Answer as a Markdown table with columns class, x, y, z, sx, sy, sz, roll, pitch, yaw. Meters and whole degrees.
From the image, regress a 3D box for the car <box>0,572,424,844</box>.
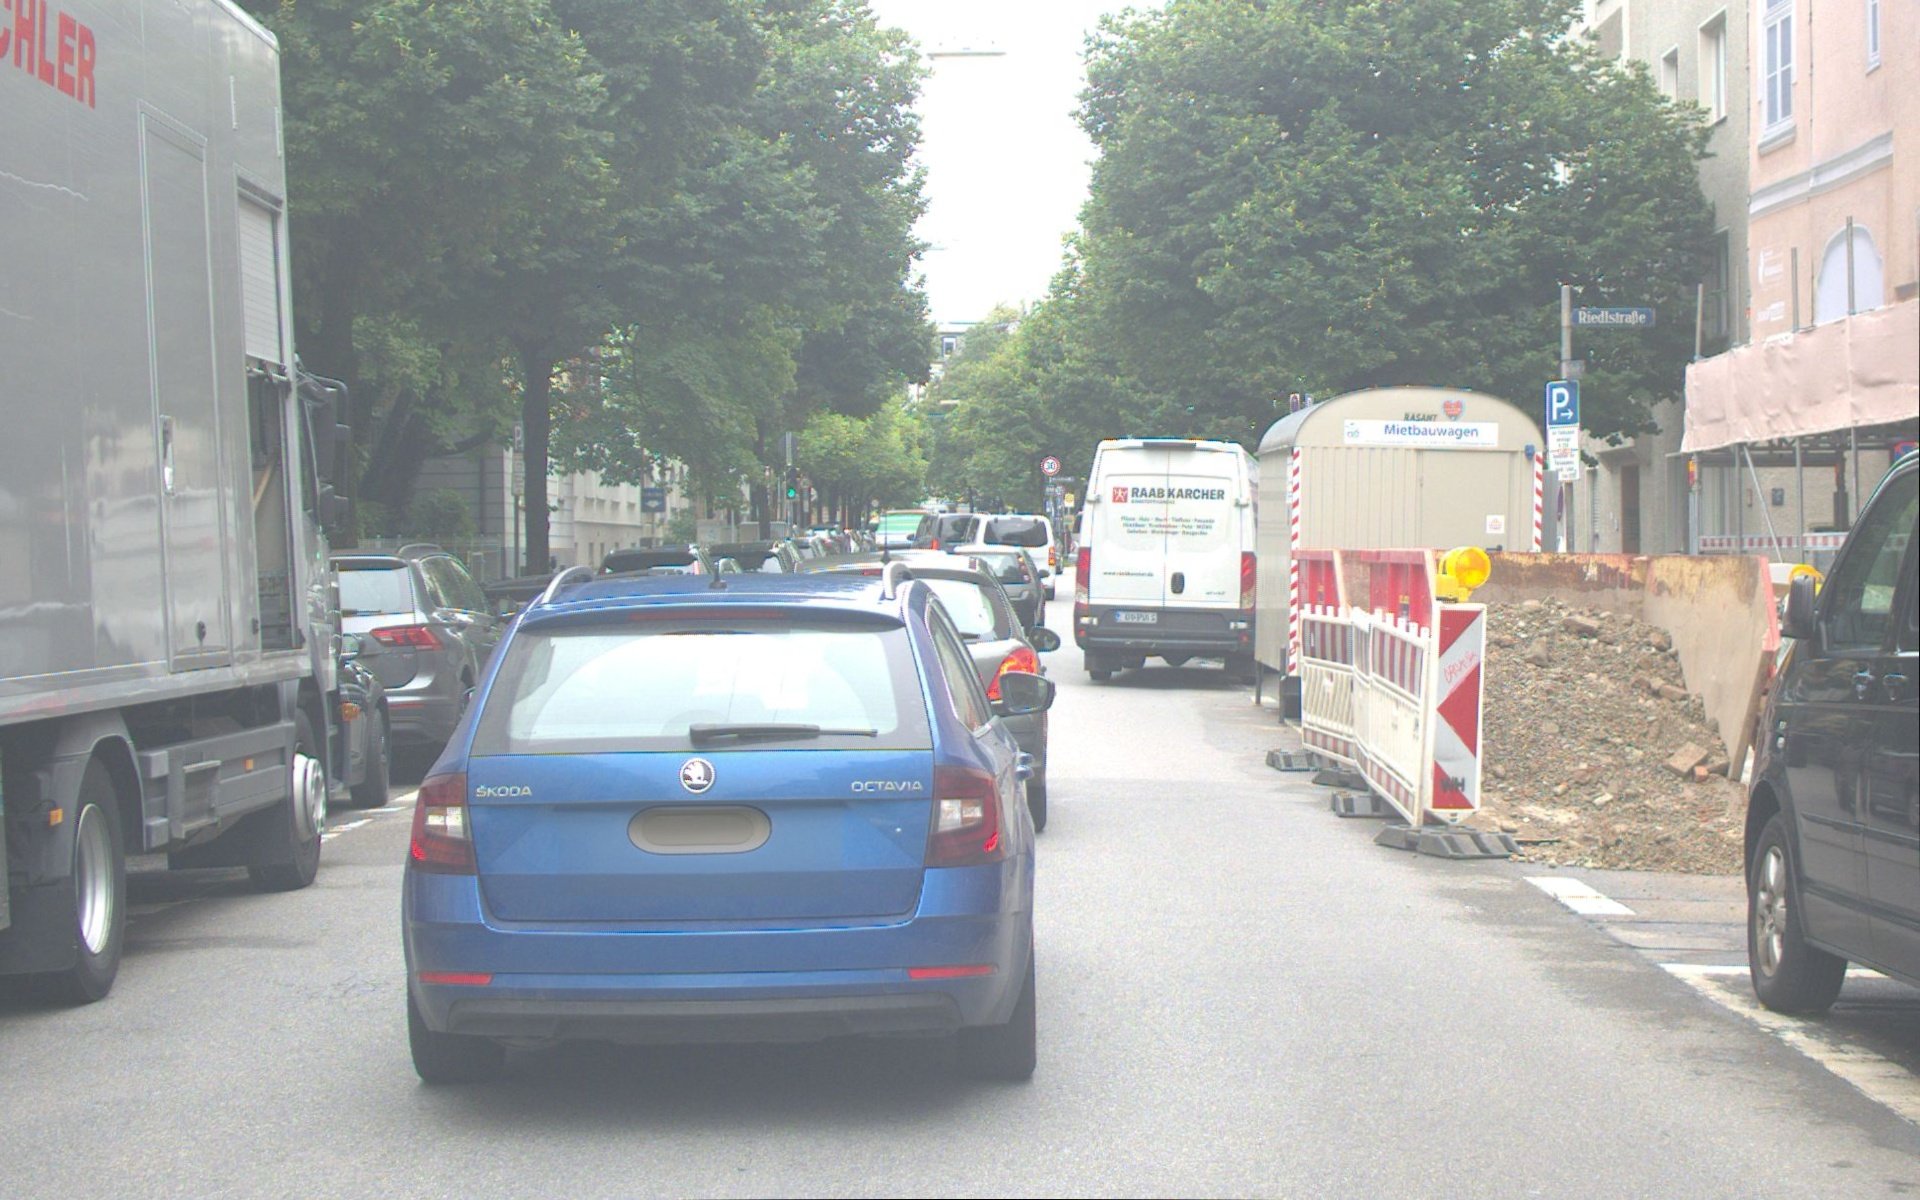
| class | x | y | z | sx | sy | sz | roll | pitch | yaw |
| --- | --- | --- | --- | --- | --- | --- | --- | --- | --- |
| car | -4.345 | 0.557 | 20.052 | 1.699 | 1.404 | 3.708 | -1 | 1 | 2 |

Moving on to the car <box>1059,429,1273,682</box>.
| class | x | y | z | sx | sy | sz | roll | pitch | yaw |
| --- | --- | --- | --- | --- | --- | --- | --- | --- | --- |
| car | 2.430 | -0.495 | 39.275 | 2.113 | 2.654 | 5.499 | 1 | 0 | 6 |

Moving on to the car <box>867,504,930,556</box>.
| class | x | y | z | sx | sy | sz | roll | pitch | yaw |
| --- | --- | --- | --- | --- | --- | --- | --- | --- | --- |
| car | -1.988 | -2.282 | 111.741 | 2.008 | 1.647 | 4.348 | 1 | 1 | -1 |

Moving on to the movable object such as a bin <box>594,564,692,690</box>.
| class | x | y | z | sx | sy | sz | roll | pitch | yaw |
| --- | --- | --- | --- | --- | --- | --- | --- | --- | --- |
| movable object such as a bin | -3.616 | 0.297 | 39.262 | 1.020 | 1.372 | 1.104 | -2 | 1 | -3 |

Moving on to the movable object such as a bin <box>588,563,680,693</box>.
| class | x | y | z | sx | sy | sz | roll | pitch | yaw |
| --- | --- | --- | --- | --- | --- | --- | --- | --- | --- |
| movable object such as a bin | -3.614 | 0.300 | 38.164 | 0.918 | 1.372 | 1.080 | -2 | 1 | -3 |

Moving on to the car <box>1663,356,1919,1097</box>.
| class | x | y | z | sx | sy | sz | roll | pitch | yaw |
| --- | --- | --- | --- | --- | --- | --- | --- | --- | --- |
| car | 3.554 | 0.366 | 10.003 | 2.082 | 1.914 | 5.140 | 1 | -2 | 2 |

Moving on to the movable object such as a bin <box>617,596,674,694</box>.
| class | x | y | z | sx | sy | sz | roll | pitch | yaw |
| --- | --- | --- | --- | --- | --- | --- | --- | --- | --- |
| movable object such as a bin | -3.412 | 0.482 | 37.309 | 0.546 | 1.017 | 0.636 | -2 | 1 | -3 |

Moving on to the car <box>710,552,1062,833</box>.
| class | x | y | z | sx | sy | sz | roll | pitch | yaw |
| --- | --- | --- | --- | --- | --- | --- | --- | --- | --- |
| car | -0.324 | 0.447 | 19.297 | 1.741 | 1.417 | 3.664 | 0 | 1 | 2 |

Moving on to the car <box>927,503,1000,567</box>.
| class | x | y | z | sx | sy | sz | roll | pitch | yaw |
| --- | --- | --- | --- | --- | --- | --- | --- | --- | --- |
| car | 0.115 | -1.731 | 91.172 | 1.867 | 1.647 | 4.347 | 1 | 1 | 1 |

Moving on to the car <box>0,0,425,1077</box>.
| class | x | y | z | sx | sy | sz | roll | pitch | yaw |
| --- | --- | --- | --- | --- | --- | --- | --- | --- | --- |
| car | -4.179 | -0.552 | 13.173 | 2.812 | 3.804 | 8.723 | -1 | 1 | 0 |

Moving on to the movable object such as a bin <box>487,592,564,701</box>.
| class | x | y | z | sx | sy | sz | roll | pitch | yaw |
| --- | --- | --- | --- | --- | --- | --- | --- | --- | --- |
| movable object such as a bin | -4.698 | 0.497 | 37.209 | 0.721 | 1.134 | 0.659 | -3 | 1 | -3 |

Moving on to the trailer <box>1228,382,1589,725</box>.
| class | x | y | z | sx | sy | sz | roll | pitch | yaw |
| --- | --- | --- | --- | --- | --- | --- | --- | --- | --- |
| trailer | 4.011 | -0.420 | 32.159 | 2.502 | 2.830 | 6.901 | 1 | 0 | 1 |

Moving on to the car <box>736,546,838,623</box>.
| class | x | y | z | sx | sy | sz | roll | pitch | yaw |
| --- | --- | --- | --- | --- | --- | --- | --- | --- | --- |
| car | -3.428 | -0.334 | 68.753 | 1.812 | 1.473 | 4.000 | 0 | 1 | 1 |

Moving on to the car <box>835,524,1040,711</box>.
| class | x | y | z | sx | sy | sz | roll | pitch | yaw |
| --- | --- | --- | --- | --- | --- | --- | --- | --- | --- |
| car | -0.204 | 0.114 | 33.839 | 1.867 | 1.690 | 4.347 | 1 | 1 | 0 |

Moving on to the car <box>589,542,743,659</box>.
| class | x | y | z | sx | sy | sz | roll | pitch | yaw |
| --- | --- | --- | --- | --- | --- | --- | --- | --- | --- |
| car | -3.893 | -0.024 | 45.984 | 1.812 | 1.473 | 4.000 | 0 | 1 | -1 |

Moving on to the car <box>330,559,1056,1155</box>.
| class | x | y | z | sx | sy | sz | roll | pitch | yaw |
| --- | --- | --- | --- | --- | --- | --- | --- | --- | --- |
| car | -0.617 | 0.617 | 10.713 | 1.789 | 1.455 | 4.314 | -1 | 1 | 1 |

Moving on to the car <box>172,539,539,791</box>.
| class | x | y | z | sx | sy | sz | roll | pitch | yaw |
| --- | --- | --- | --- | --- | --- | --- | --- | --- | --- |
| car | -4.258 | 0.396 | 24.858 | 1.785 | 1.622 | 4.185 | -1 | 1 | 1 |

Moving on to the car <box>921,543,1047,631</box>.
| class | x | y | z | sx | sy | sz | roll | pitch | yaw |
| --- | --- | --- | --- | --- | --- | --- | --- | --- | --- |
| car | 0.353 | -0.246 | 56.731 | 1.867 | 1.343 | 4.348 | 1 | 1 | -2 |

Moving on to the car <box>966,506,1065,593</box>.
| class | x | y | z | sx | sy | sz | roll | pitch | yaw |
| --- | --- | --- | --- | --- | --- | --- | --- | --- | --- |
| car | 1.218 | -1.153 | 76.978 | 1.867 | 1.863 | 4.348 | 1 | 1 | -3 |

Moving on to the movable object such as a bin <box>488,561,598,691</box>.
| class | x | y | z | sx | sy | sz | roll | pitch | yaw |
| --- | --- | --- | --- | --- | --- | --- | --- | --- | --- |
| movable object such as a bin | -4.611 | 0.278 | 38.092 | 1.081 | 1.372 | 1.084 | -2 | 1 | -3 |

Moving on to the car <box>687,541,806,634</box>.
| class | x | y | z | sx | sy | sz | roll | pitch | yaw |
| --- | --- | --- | --- | --- | --- | --- | --- | --- | --- |
| car | -3.491 | -0.233 | 56.711 | 1.812 | 1.473 | 4.000 | 0 | 1 | -1 |

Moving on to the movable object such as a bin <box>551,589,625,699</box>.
| class | x | y | z | sx | sy | sz | roll | pitch | yaw |
| --- | --- | --- | --- | --- | --- | --- | --- | --- | --- |
| movable object such as a bin | -4.031 | 0.468 | 37.255 | 0.711 | 1.144 | 0.636 | -2 | 1 | -3 |
